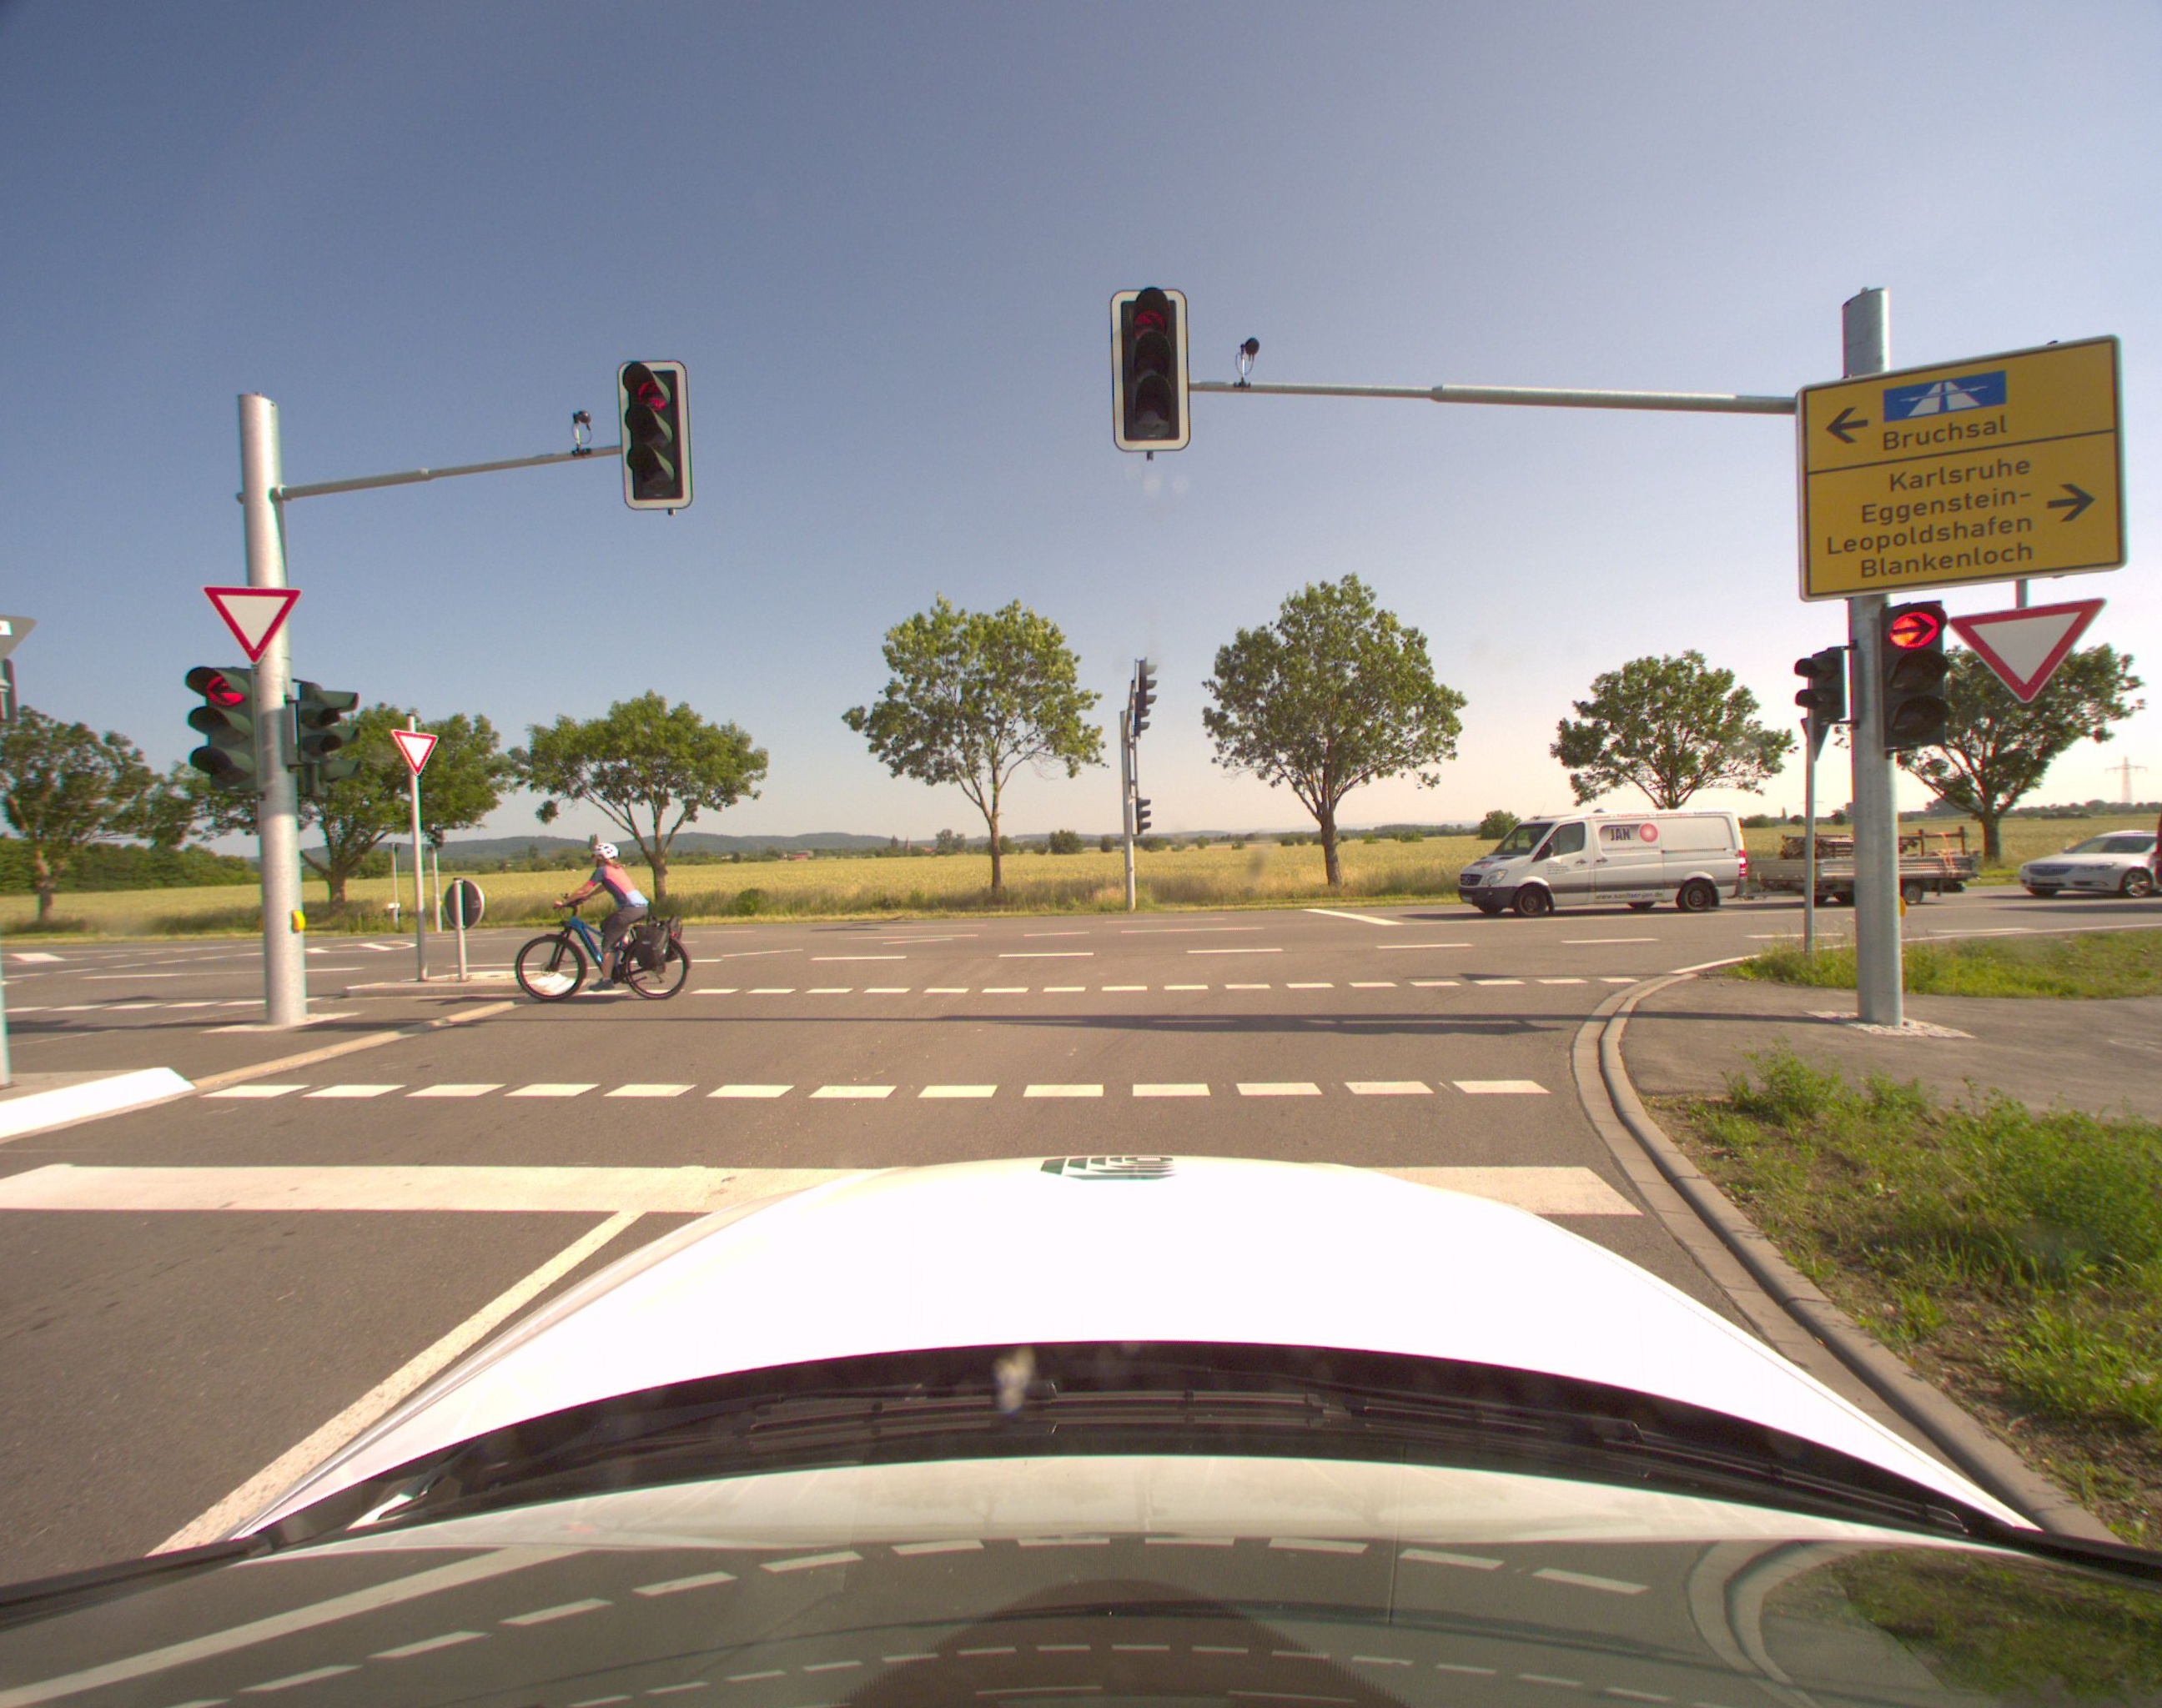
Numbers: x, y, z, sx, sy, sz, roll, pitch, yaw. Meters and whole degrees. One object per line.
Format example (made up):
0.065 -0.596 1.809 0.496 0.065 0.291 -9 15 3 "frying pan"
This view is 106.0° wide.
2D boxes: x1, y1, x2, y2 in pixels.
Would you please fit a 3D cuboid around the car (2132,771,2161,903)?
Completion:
24.280 -0.441 15.607 5.714 2.622 2.033 -2 0 -1 "car"

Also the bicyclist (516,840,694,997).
-5.221 0.659 9.053 1.276 1.601 1.164 -1 1 -3 "bicyclist"

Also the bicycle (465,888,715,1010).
-5.307 1.003 8.927 2.151 1.186 0.889 -1 -1 -4 "bicycle"

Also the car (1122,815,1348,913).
4.228 0.272 23.062 5.880 2.577 2.389 0 -1 -5 "car"

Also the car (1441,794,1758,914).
11.635 0.007 18.576 5.939 2.493 1.999 -1 -1 -1 "car"

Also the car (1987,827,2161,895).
24.641 0.160 19.074 4.858 1.510 1.997 0 -1 -4 "car"

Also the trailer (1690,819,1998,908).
17.316 0.215 18.675 5.245 1.753 1.953 -2 -1 -1 "trailer"
